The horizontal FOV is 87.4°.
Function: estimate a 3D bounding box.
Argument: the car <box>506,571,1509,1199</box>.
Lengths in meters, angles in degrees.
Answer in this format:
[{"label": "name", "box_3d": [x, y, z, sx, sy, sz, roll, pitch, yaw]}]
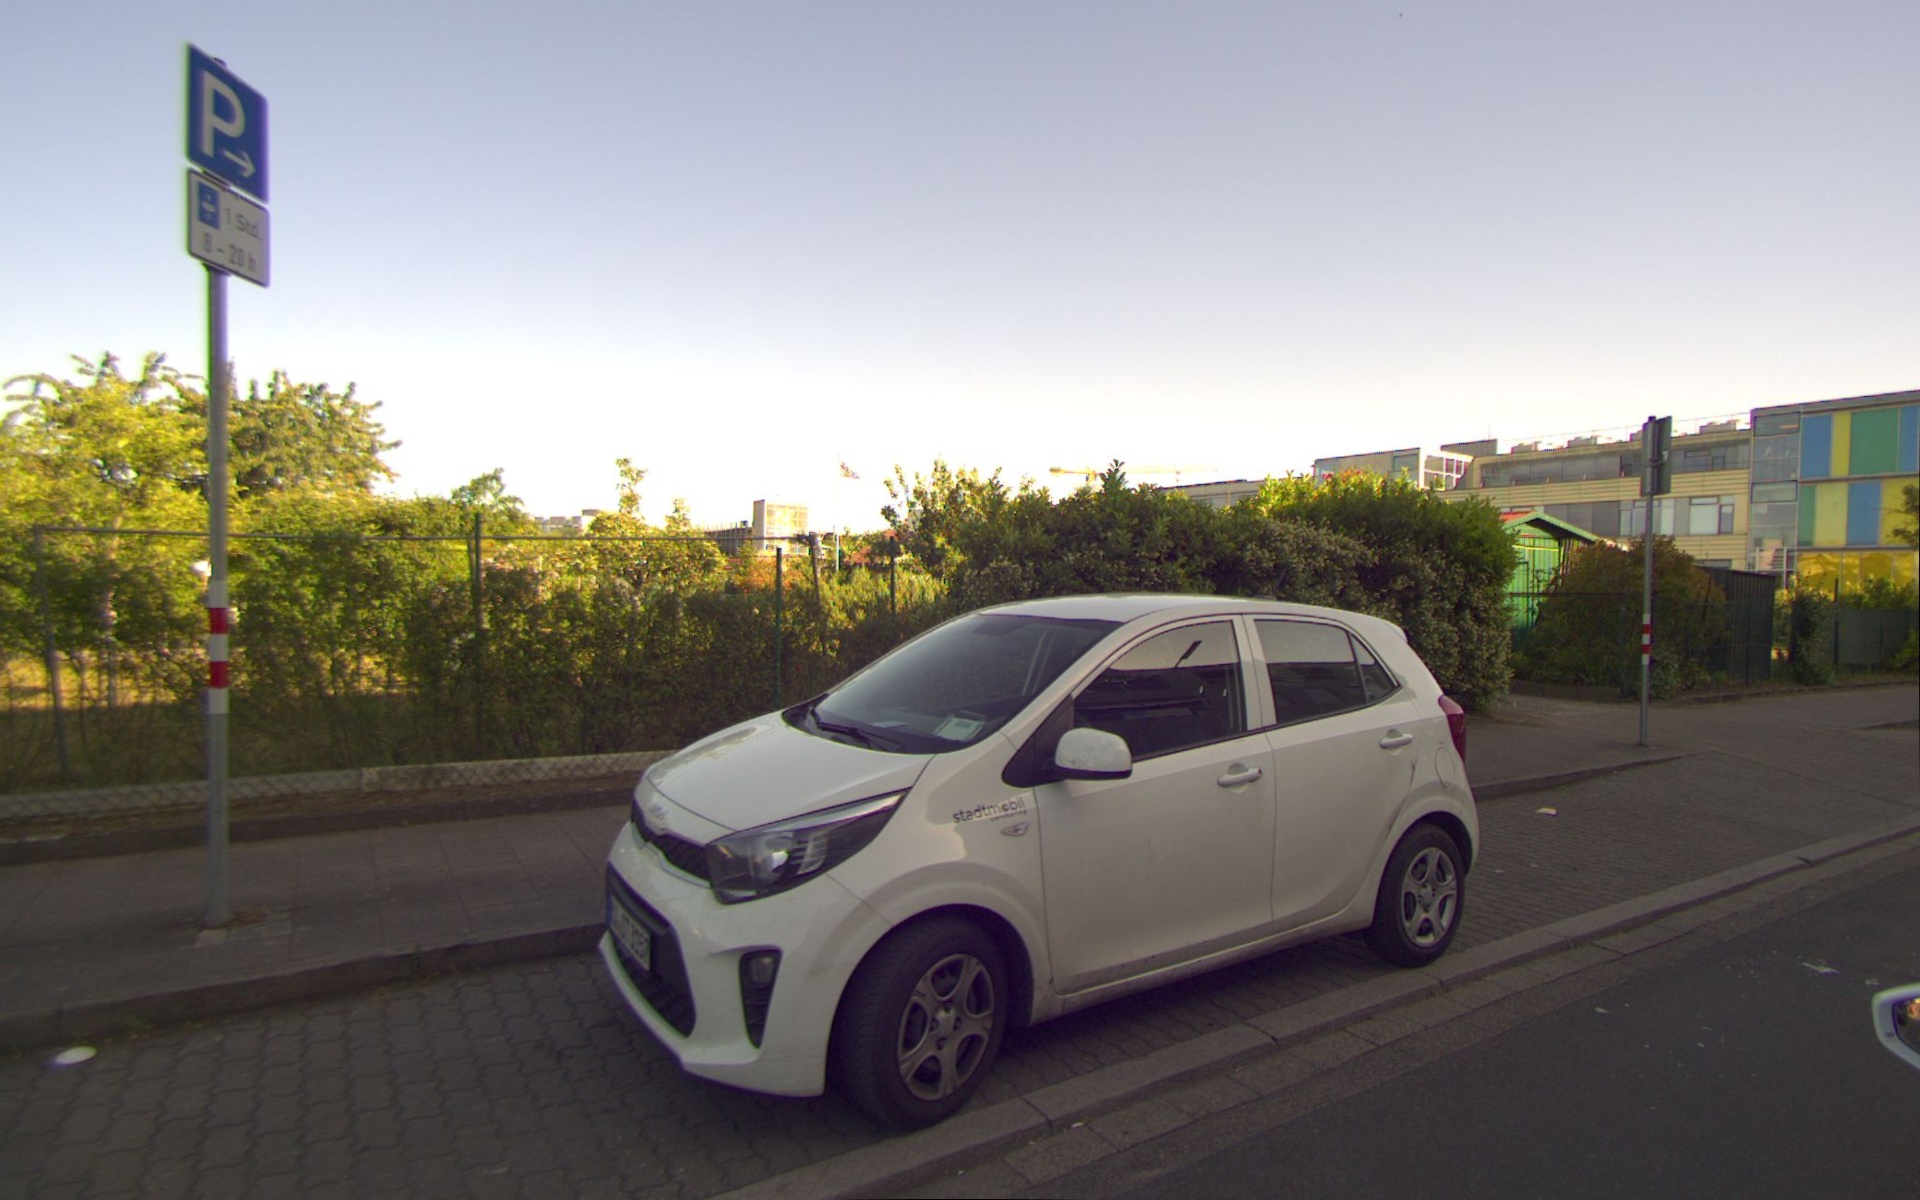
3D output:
[{"label": "car", "box_3d": [0.371, 0.714, 3.929, 3.718, 1.515, 1.550, 1, 0, -34]}]
